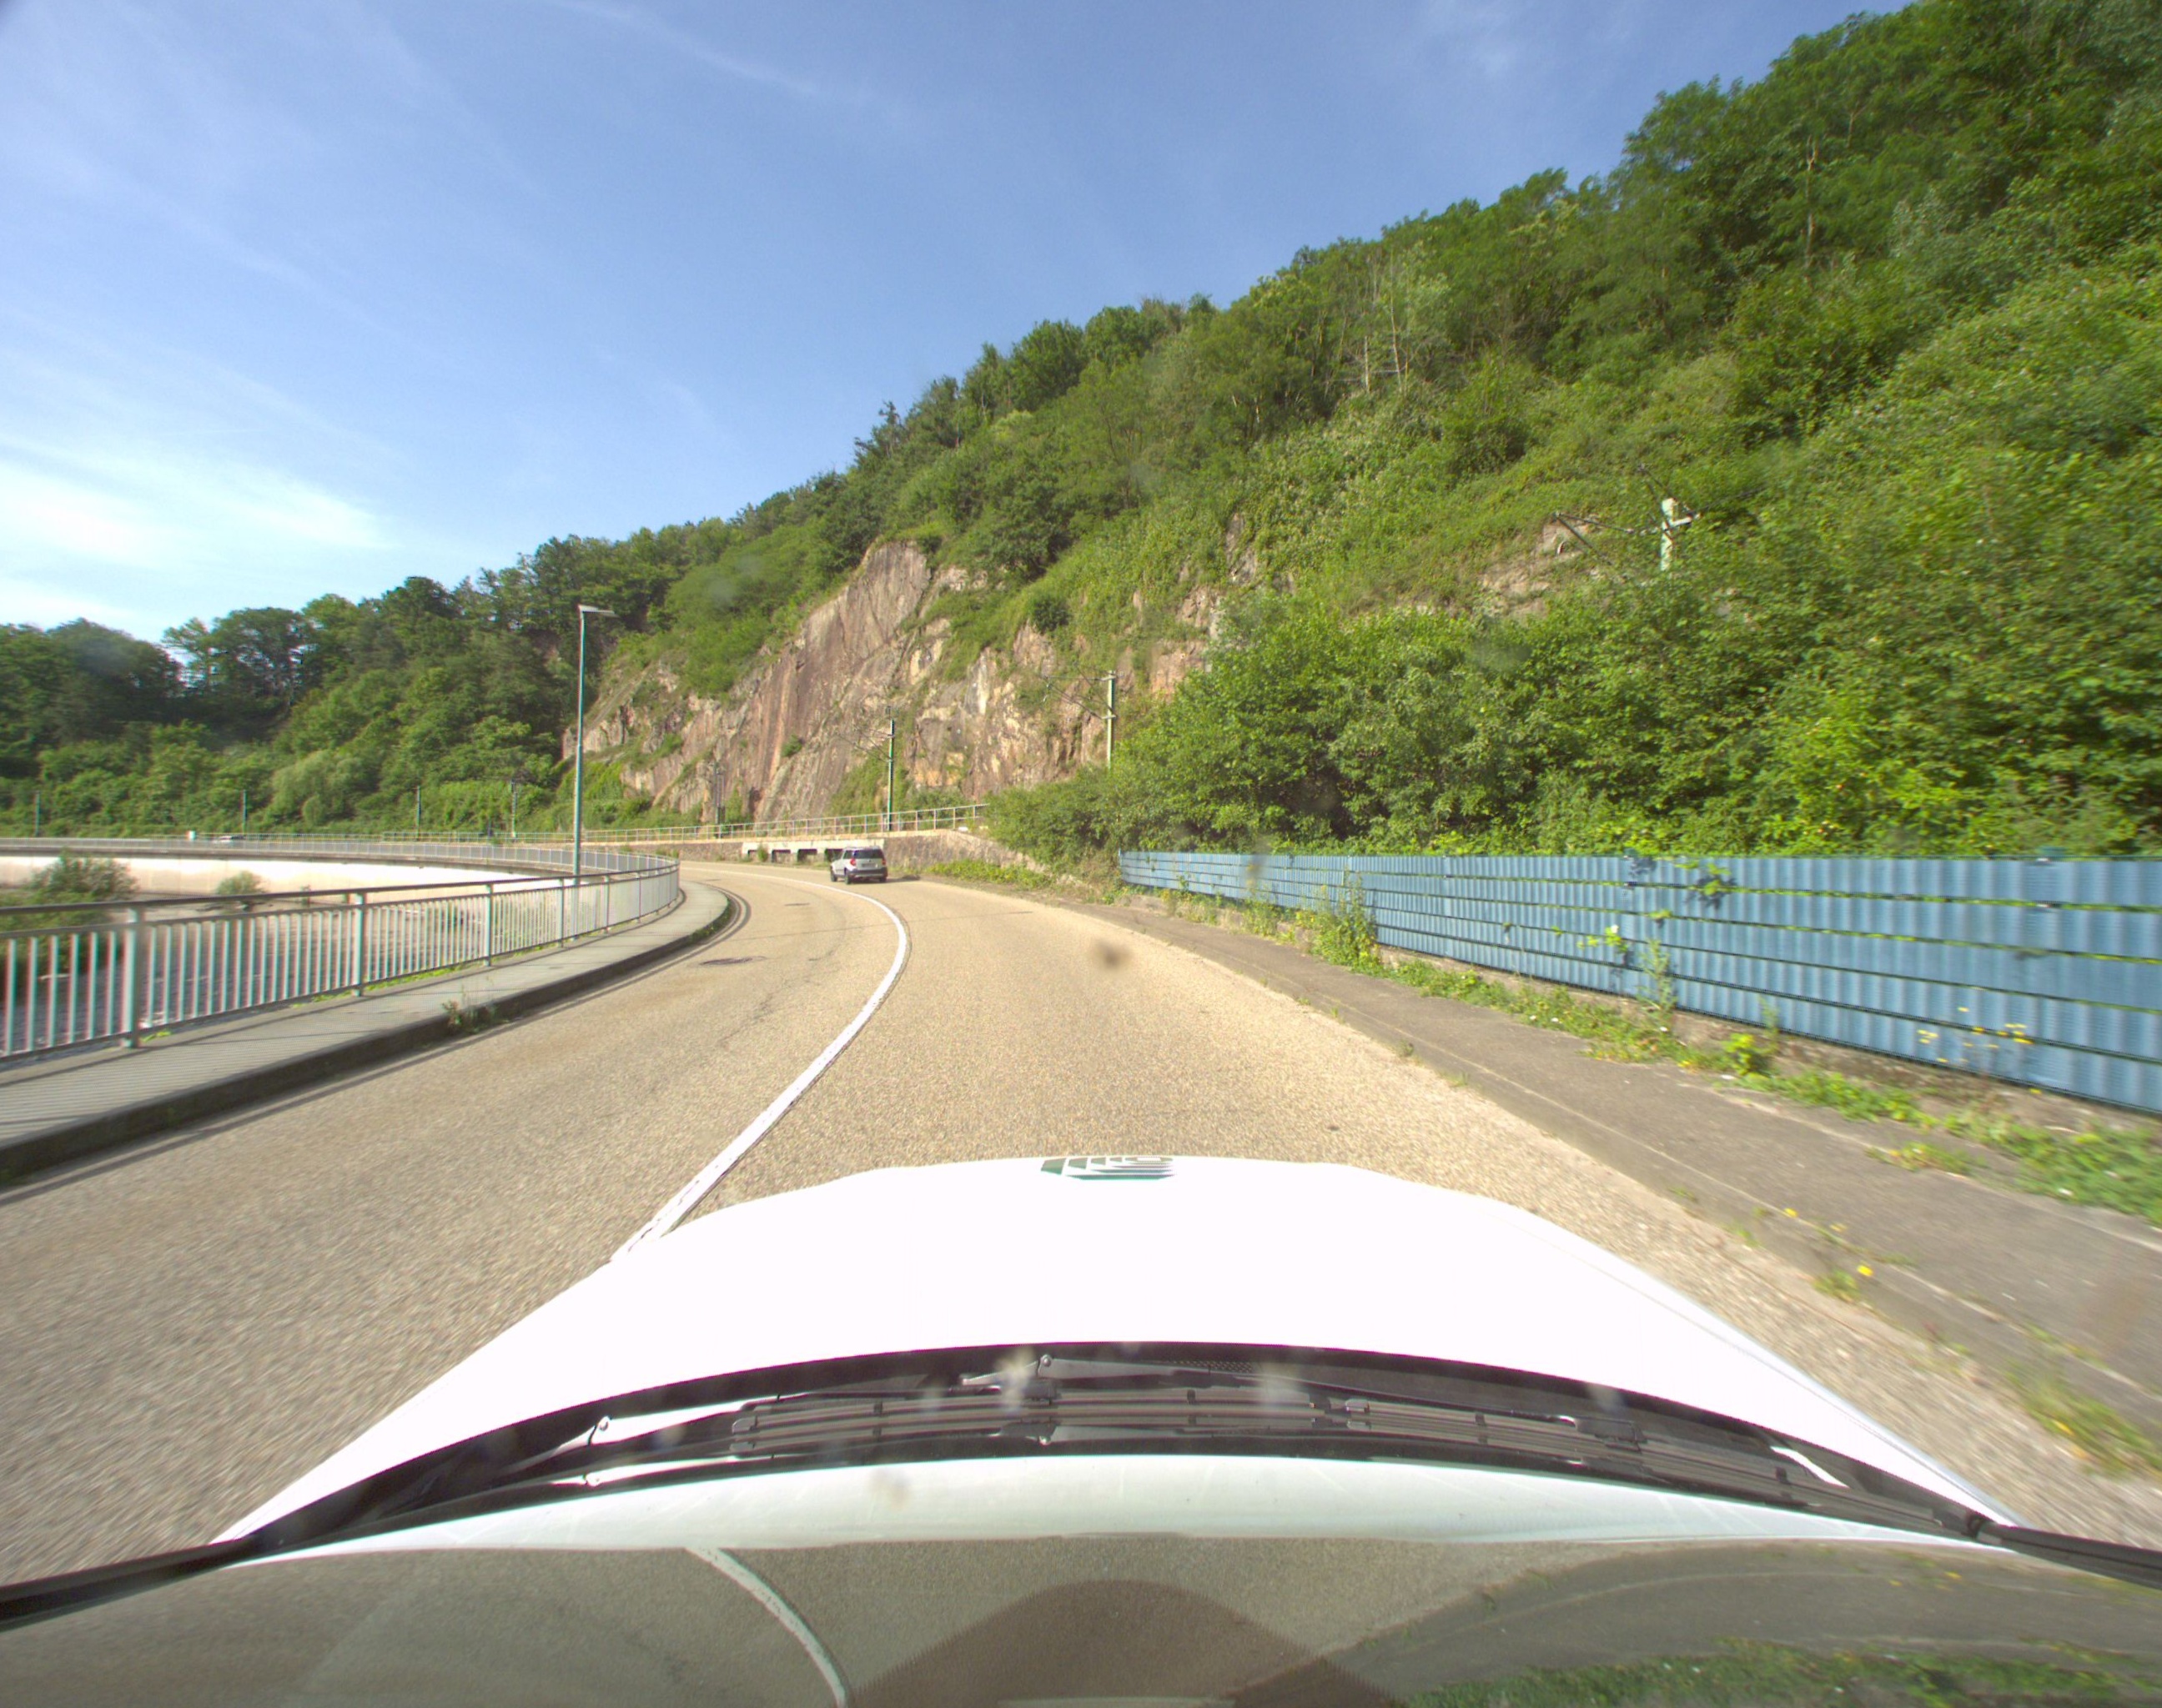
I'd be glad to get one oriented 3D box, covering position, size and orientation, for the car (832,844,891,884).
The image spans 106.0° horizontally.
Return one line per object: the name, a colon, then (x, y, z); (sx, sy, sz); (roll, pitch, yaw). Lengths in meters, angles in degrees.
car: (-10.036, 0.433, 37.087); (1.882, 1.655, 3.967); (-2, 1, -25)
